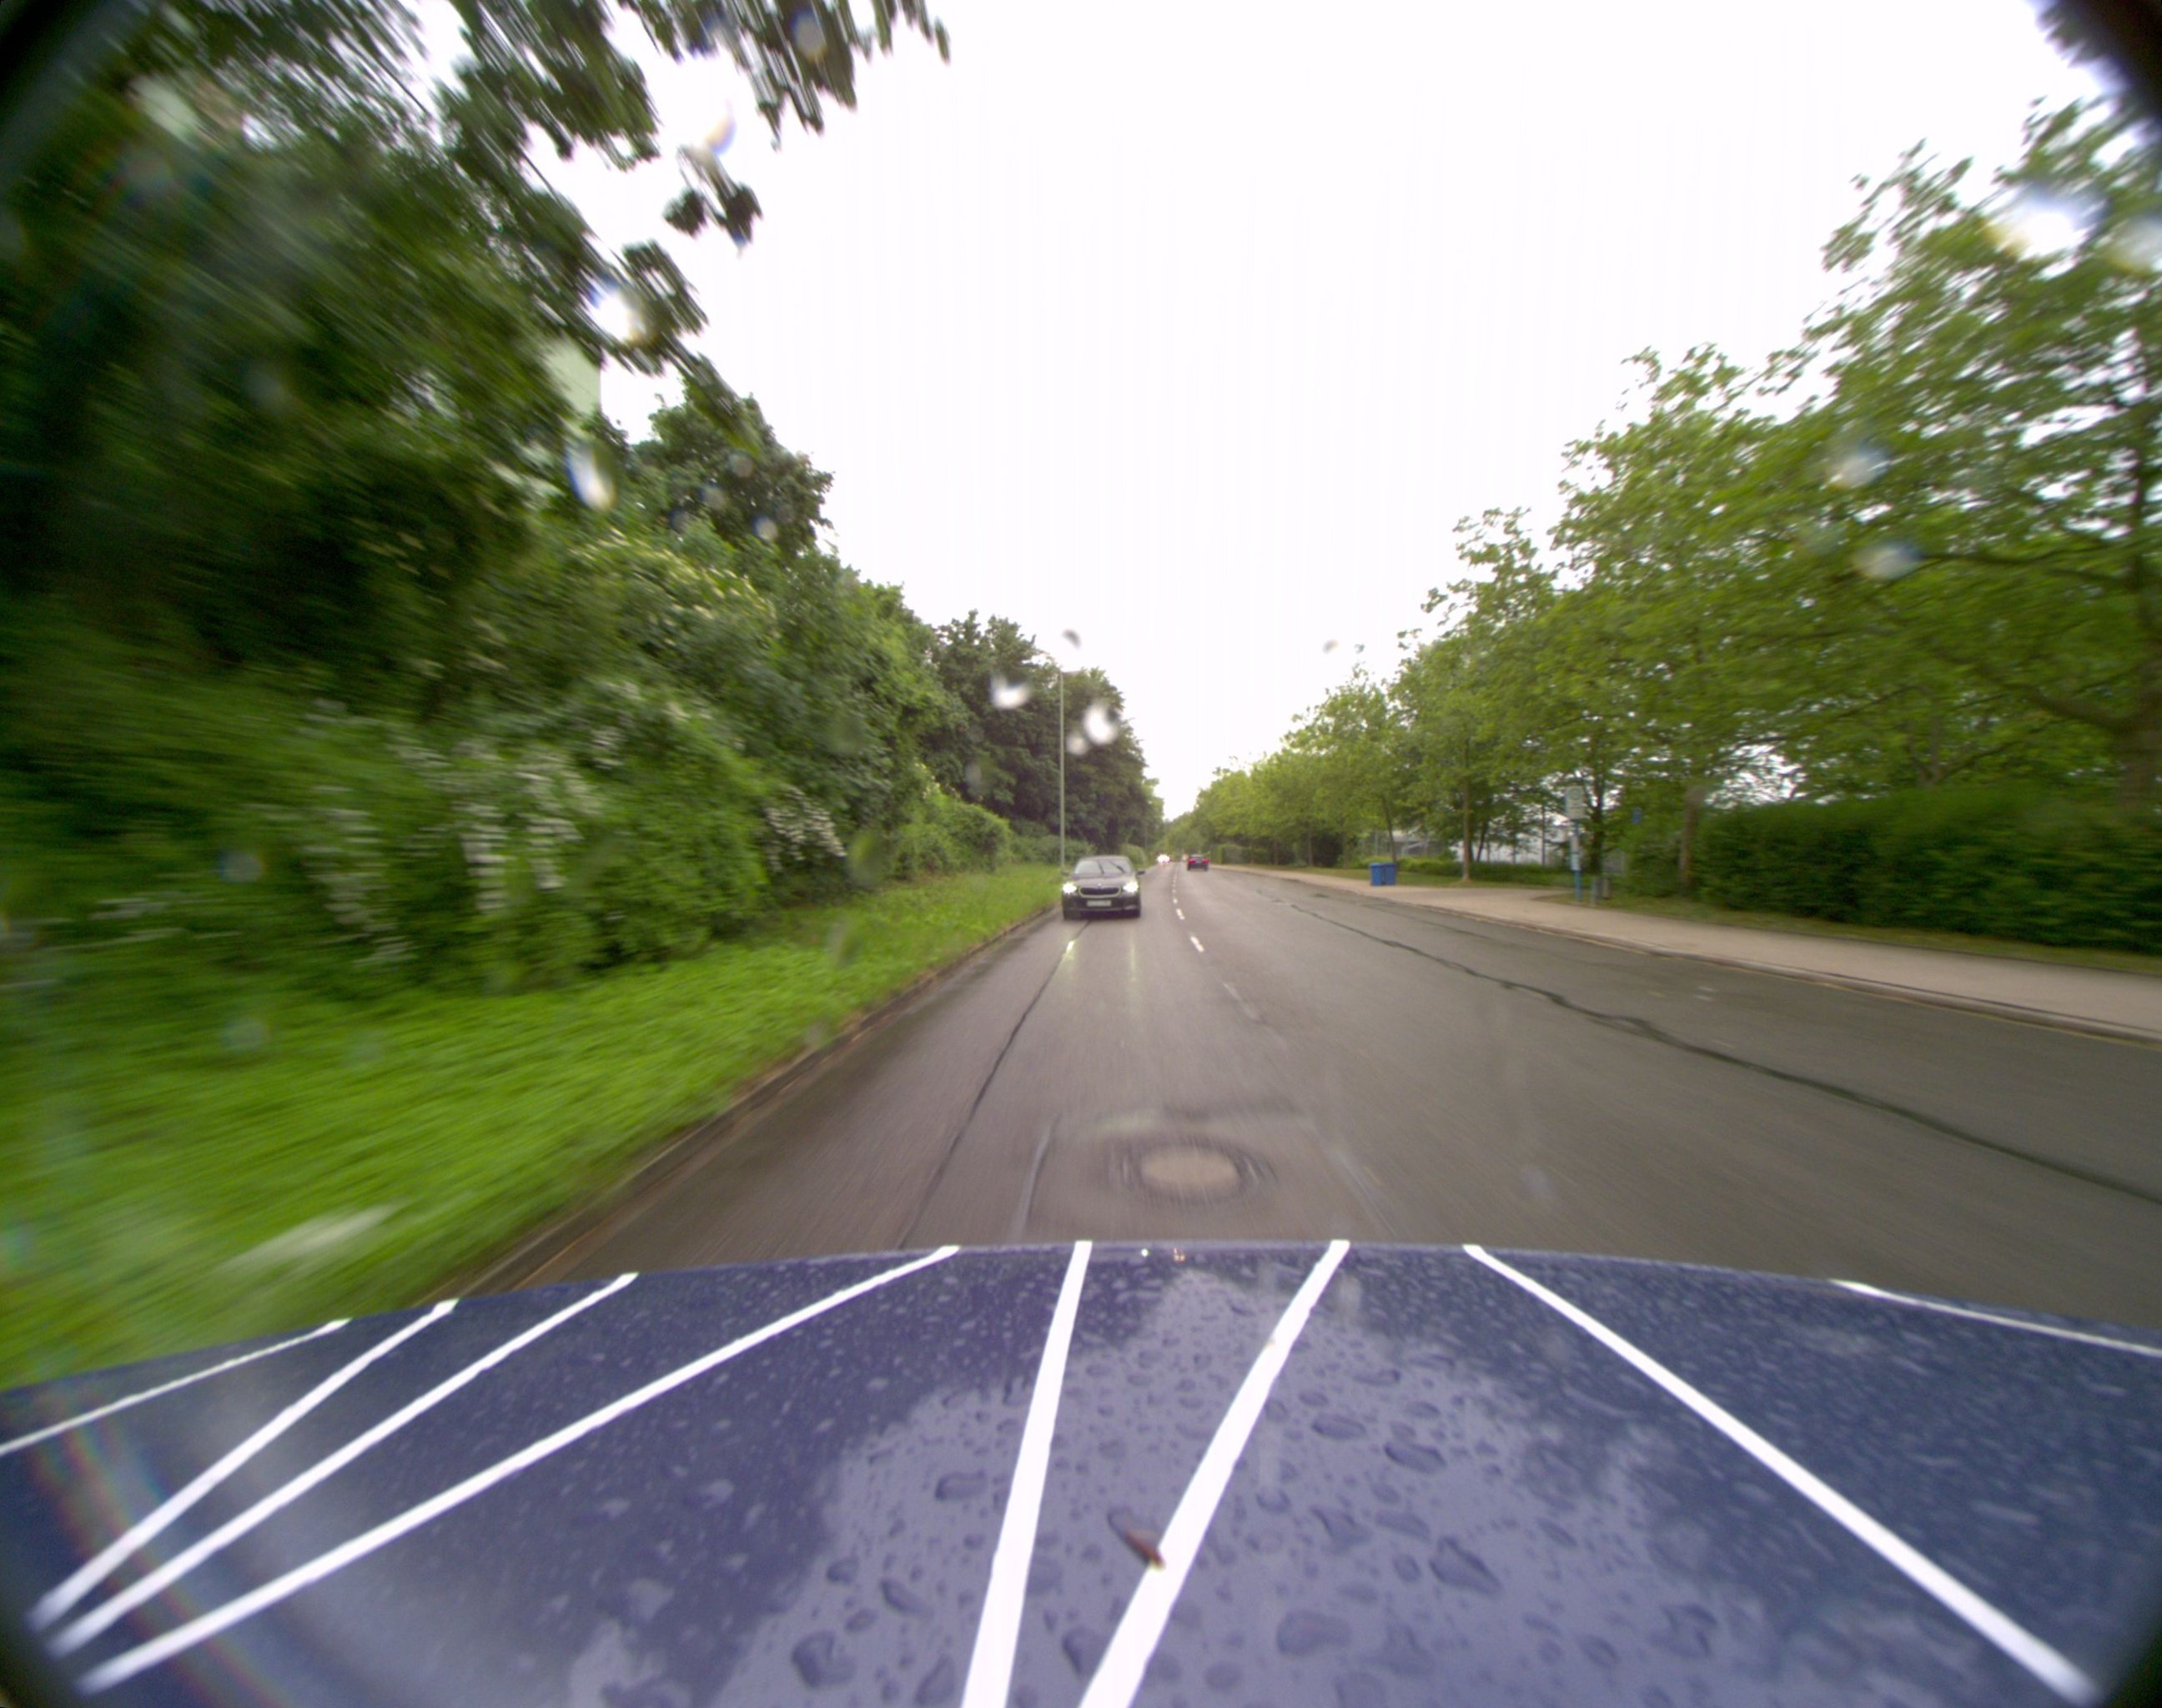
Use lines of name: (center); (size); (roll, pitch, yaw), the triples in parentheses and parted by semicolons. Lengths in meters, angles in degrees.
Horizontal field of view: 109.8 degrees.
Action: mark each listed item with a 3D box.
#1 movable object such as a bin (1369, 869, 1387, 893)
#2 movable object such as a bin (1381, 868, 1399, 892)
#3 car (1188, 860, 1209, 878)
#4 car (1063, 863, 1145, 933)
movable object such as a bin: (13.808, 1.252, 35.329); (0.567, 1.092, 0.672); (-3, 0, 9)
movable object such as a bin: (14.445, 1.223, 35.522); (0.567, 1.092, 0.672); (-3, 0, 9)
car: (10.602, 1.340, 68.848); (1.830, 1.456, 4.002); (1, 1, 8)
car: (0.584, 1.037, 19.680); (1.832, 1.499, 4.498); (-2, 0, 1)
